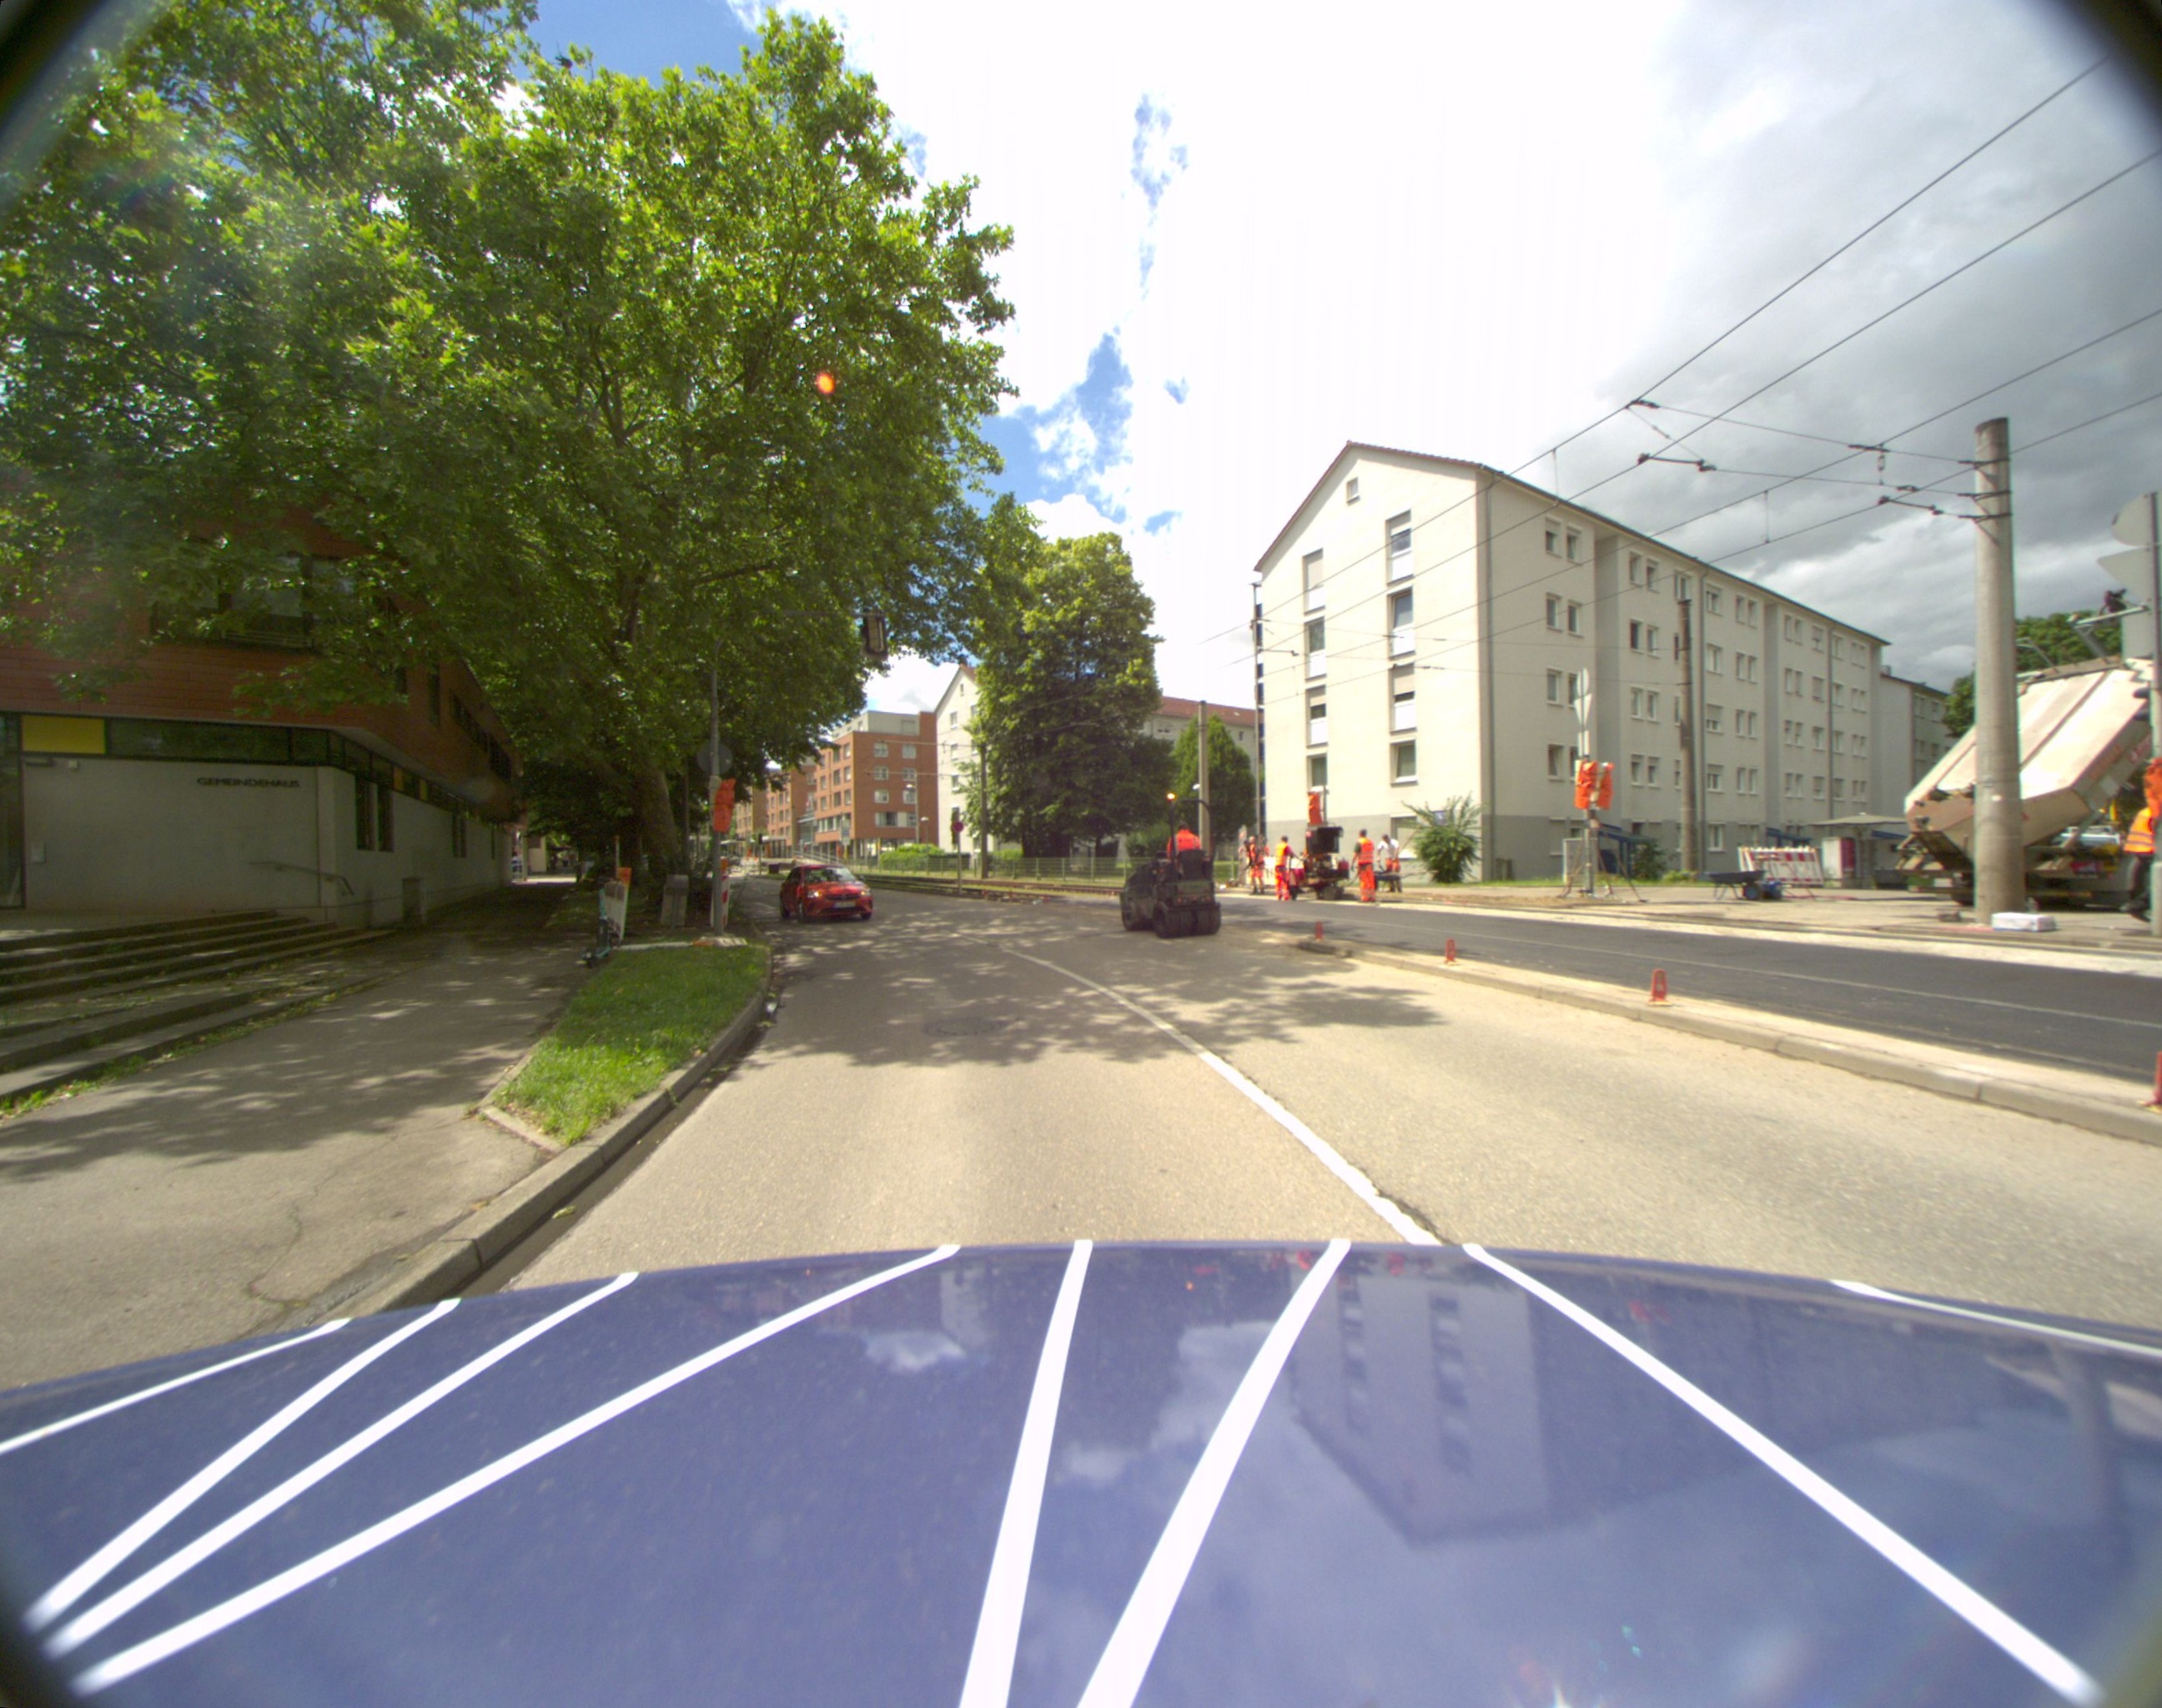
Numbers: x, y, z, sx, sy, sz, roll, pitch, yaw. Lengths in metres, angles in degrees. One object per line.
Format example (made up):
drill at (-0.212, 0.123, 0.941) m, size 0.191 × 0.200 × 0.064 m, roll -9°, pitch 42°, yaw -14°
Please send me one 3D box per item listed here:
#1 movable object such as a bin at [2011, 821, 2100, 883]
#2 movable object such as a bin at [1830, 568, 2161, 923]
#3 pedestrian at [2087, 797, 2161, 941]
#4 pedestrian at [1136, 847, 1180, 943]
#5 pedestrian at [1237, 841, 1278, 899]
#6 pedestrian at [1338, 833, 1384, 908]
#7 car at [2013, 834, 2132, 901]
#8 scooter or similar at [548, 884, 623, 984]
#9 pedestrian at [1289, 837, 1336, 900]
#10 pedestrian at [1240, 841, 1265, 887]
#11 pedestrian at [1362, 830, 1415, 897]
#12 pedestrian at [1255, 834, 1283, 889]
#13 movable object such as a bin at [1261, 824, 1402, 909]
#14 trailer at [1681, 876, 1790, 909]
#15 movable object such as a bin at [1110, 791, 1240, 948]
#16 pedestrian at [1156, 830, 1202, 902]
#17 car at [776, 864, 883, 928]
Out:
movable object such as a bin at (40.114, -0.064, 31.371) m, size 4.008 × 2.395 × 1.994 m, roll 0°, pitch 0°, yaw -42°
movable object such as a bin at (18.903, -1.678, 13.430) m, size 9.033 × 5.453 × 2.820 m, roll 0°, pitch 0°, yaw -4°
pedestrian at (13.934, 0.179, 9.800) m, size 0.797 × 1.822 × 0.970 m, roll -2°, pitch 1°, yaw -22°
pedestrian at (1.387, 0.726, 13.716) m, size 0.471 × 1.672 × 0.557 m, roll -4°, pitch 2°, yaw -29°
pedestrian at (5.335, 0.480, 22.962) m, size 0.754 × 1.706 × 0.917 m, roll -2°, pitch 0°, yaw -27°
pedestrian at (6.942, 0.398, 18.848) m, size 0.785 × 1.828 × 0.767 m, roll -1°, pitch 0°, yaw -34°
car at (30.310, 0.369, 23.365) m, size 4.352 × 1.870 × 1.994 m, roll 0°, pitch 0°, yaw -41°
scooter or similar at (-6.714, 1.049, 10.347) m, size 0.566 × 1.225 × 1.193 m, roll -1°, pitch 0°, yaw -18°
pedestrian at (6.551, 0.401, 21.511) m, size 0.860 × 1.706 × 0.917 m, roll -2°, pitch 0°, yaw -21°
pedestrian at (6.410, 0.376, 28.393) m, size 0.879 × 1.673 × 0.668 m, roll -1°, pitch 1°, yaw 11°
pedestrian at (8.563, 0.246, 21.163) m, size 1.098 × 1.813 × 0.872 m, roll -1°, pitch 0°, yaw -33°
pedestrian at (6.680, 0.271, 26.949) m, size 0.879 × 1.897 × 0.668 m, roll -1°, pitch 1°, yaw 17°
movable object such as a bin at (6.390, 0.299, 19.674) m, size 2.002 × 2.002 × 2.962 m, roll -1°, pitch 0°, yaw -23°
trailer at (13.624, 0.783, 15.884) m, size 0.797 × 0.612 × 1.596 m, roll 0°, pitch 0°, yaw -8°
movable object such as a bin at (1.639, 0.244, 13.854) m, size 1.322 × 2.578 × 2.358 m, roll -2°, pitch 1°, yaw -21°
pedestrian at (1.675, 0.198, 13.047) m, size 0.551 × 1.209 × 0.616 m, roll -1°, pitch 0°, yaw -22°
car at (-6.711, 1.035, 20.013) m, size 1.773 × 1.425 × 3.830 m, roll -3°, pitch 0°, yaw -32°
